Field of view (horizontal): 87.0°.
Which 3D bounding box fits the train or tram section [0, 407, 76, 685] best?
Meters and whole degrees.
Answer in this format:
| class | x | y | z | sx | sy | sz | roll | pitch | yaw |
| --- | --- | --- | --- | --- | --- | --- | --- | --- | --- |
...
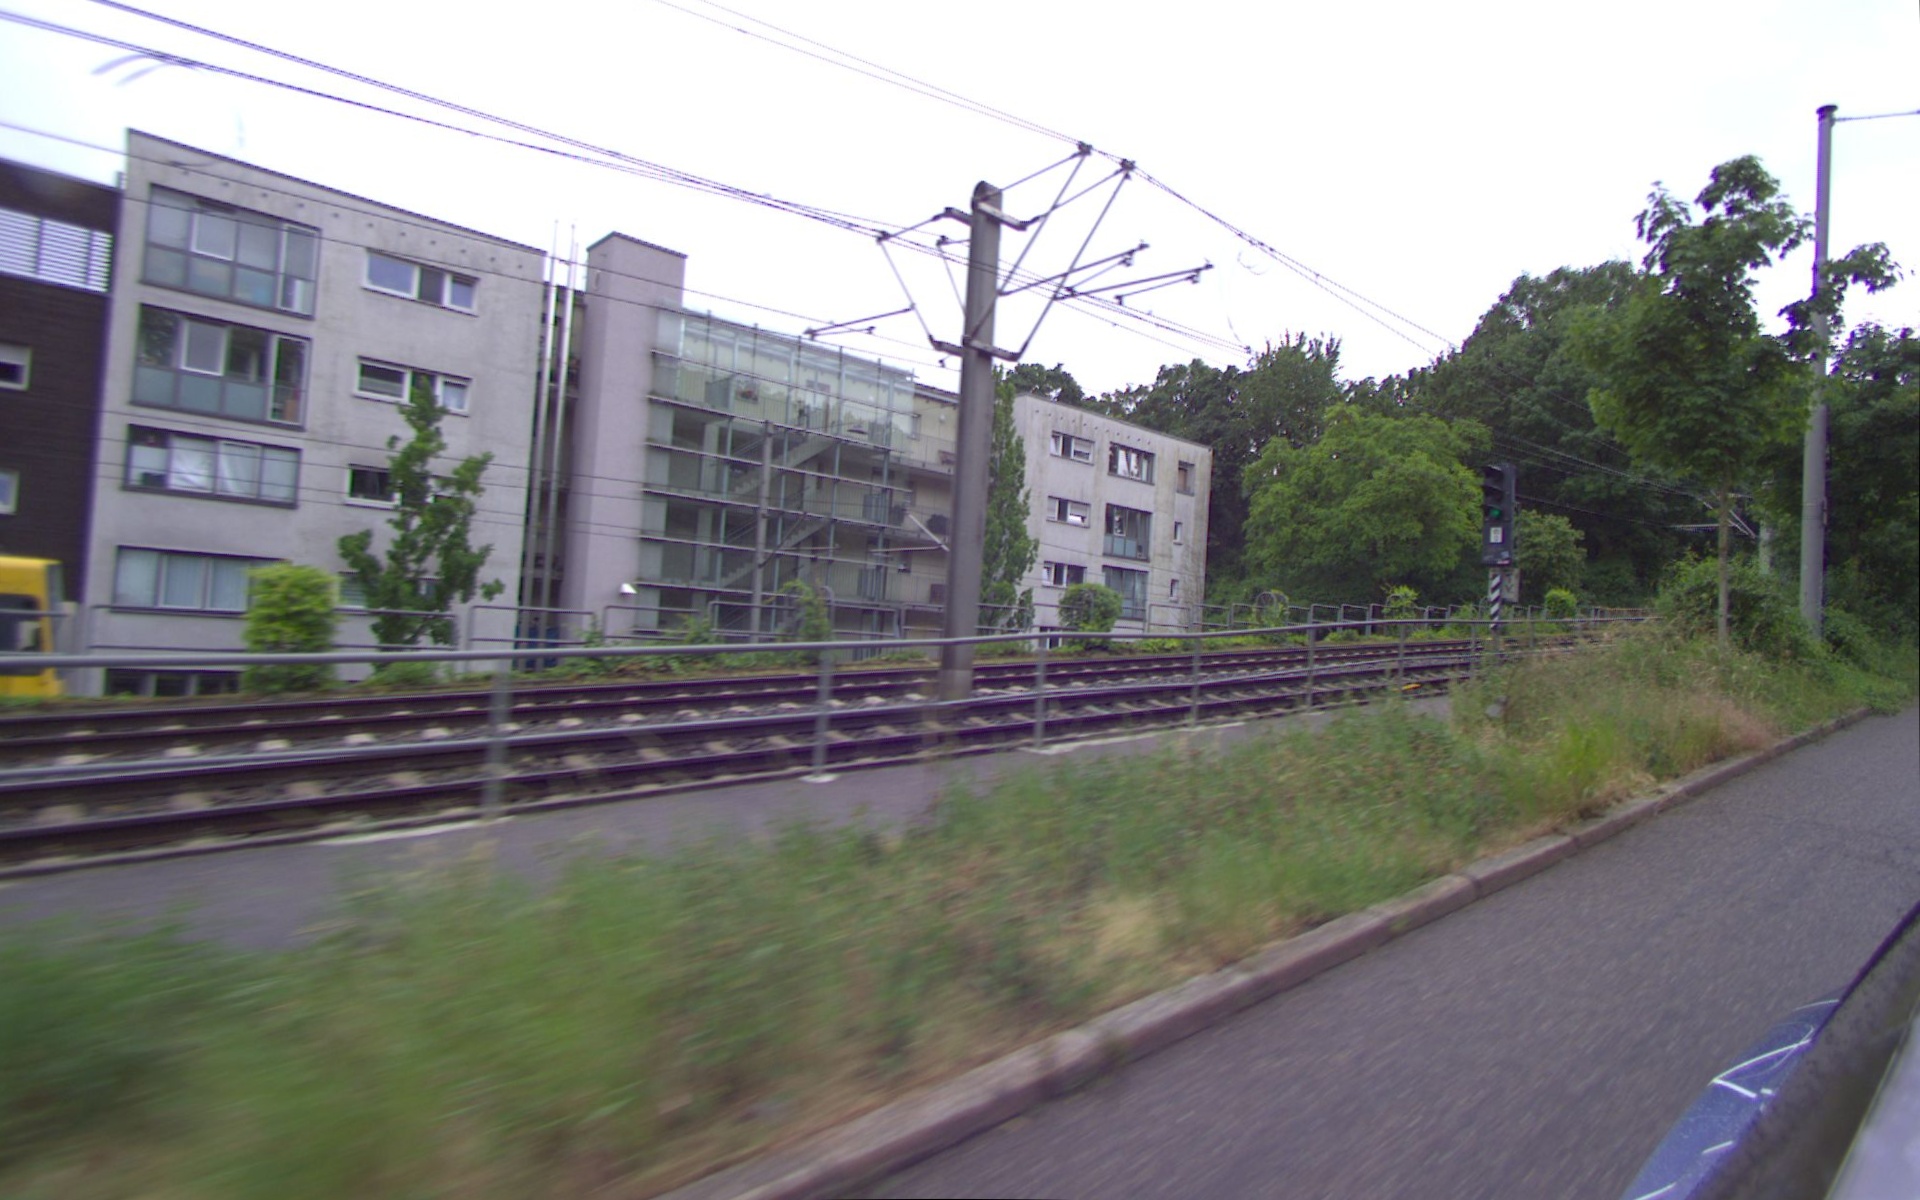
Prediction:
| class | x | y | z | sx | sy | sz | roll | pitch | yaw |
| --- | --- | --- | --- | --- | --- | --- | --- | --- | --- |
| train or tram section | -21.455 | -0.794 | 10.114 | 18.944 | 3.997 | 3.336 | 0 | 1 | -41 |
